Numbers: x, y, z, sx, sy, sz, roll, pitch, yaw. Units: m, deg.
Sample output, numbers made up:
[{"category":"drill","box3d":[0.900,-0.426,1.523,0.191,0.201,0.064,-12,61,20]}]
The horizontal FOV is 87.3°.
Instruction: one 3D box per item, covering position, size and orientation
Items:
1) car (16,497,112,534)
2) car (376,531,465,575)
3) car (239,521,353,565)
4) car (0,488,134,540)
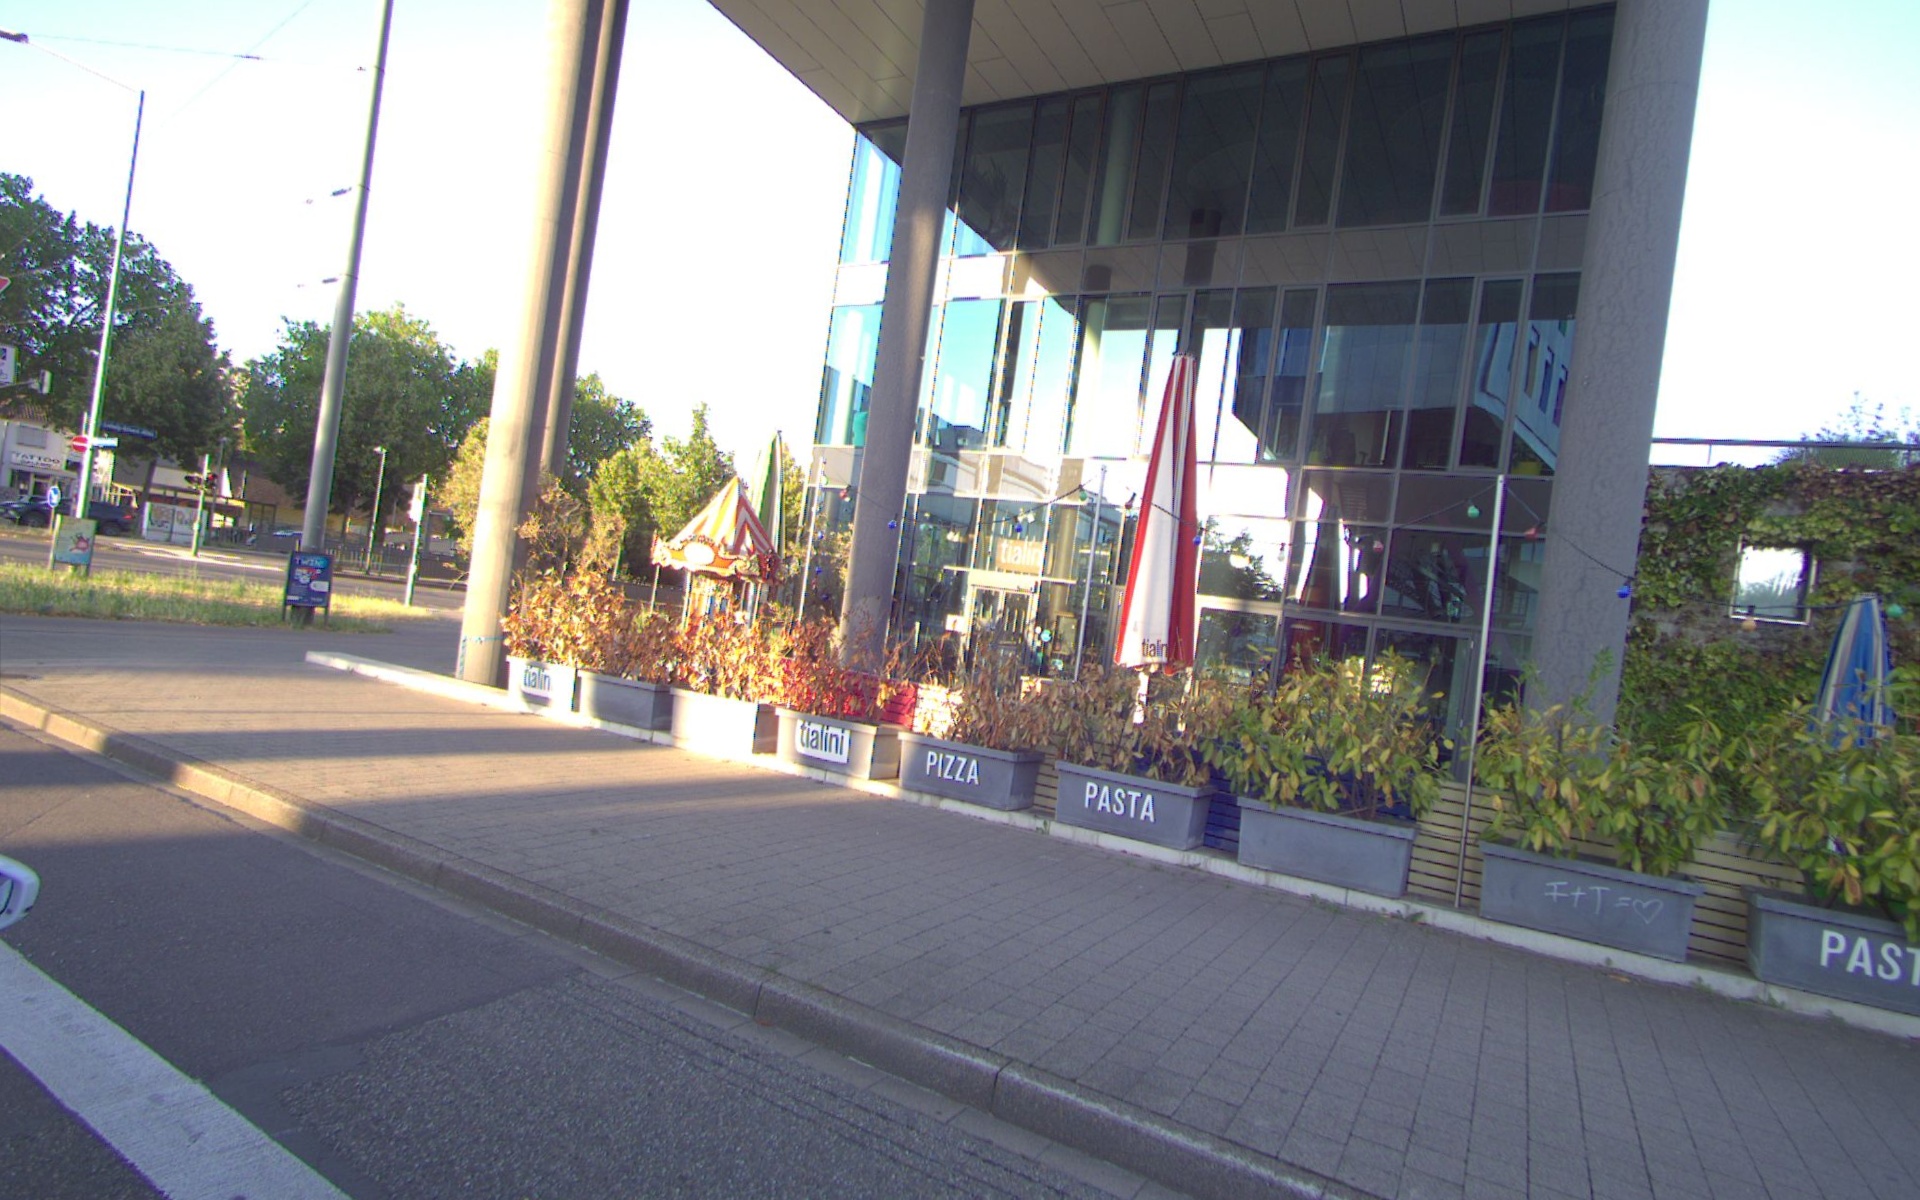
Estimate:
[{"category":"car","box3d":[-50.053,-4.706,56.236,1.641,1.456,3.736,6,-2,41]},{"category":"car","box3d":[-42.581,-3.683,79.547,2.197,2.581,5.594,7,-2,39]},{"category":"car","box3d":[-33.209,-2.820,50.439,1.776,1.513,4.335,6,-2,35]},{"category":"car","box3d":[-39.500,-3.759,44.381,1.775,1.513,4.337,6,-2,33]}]
